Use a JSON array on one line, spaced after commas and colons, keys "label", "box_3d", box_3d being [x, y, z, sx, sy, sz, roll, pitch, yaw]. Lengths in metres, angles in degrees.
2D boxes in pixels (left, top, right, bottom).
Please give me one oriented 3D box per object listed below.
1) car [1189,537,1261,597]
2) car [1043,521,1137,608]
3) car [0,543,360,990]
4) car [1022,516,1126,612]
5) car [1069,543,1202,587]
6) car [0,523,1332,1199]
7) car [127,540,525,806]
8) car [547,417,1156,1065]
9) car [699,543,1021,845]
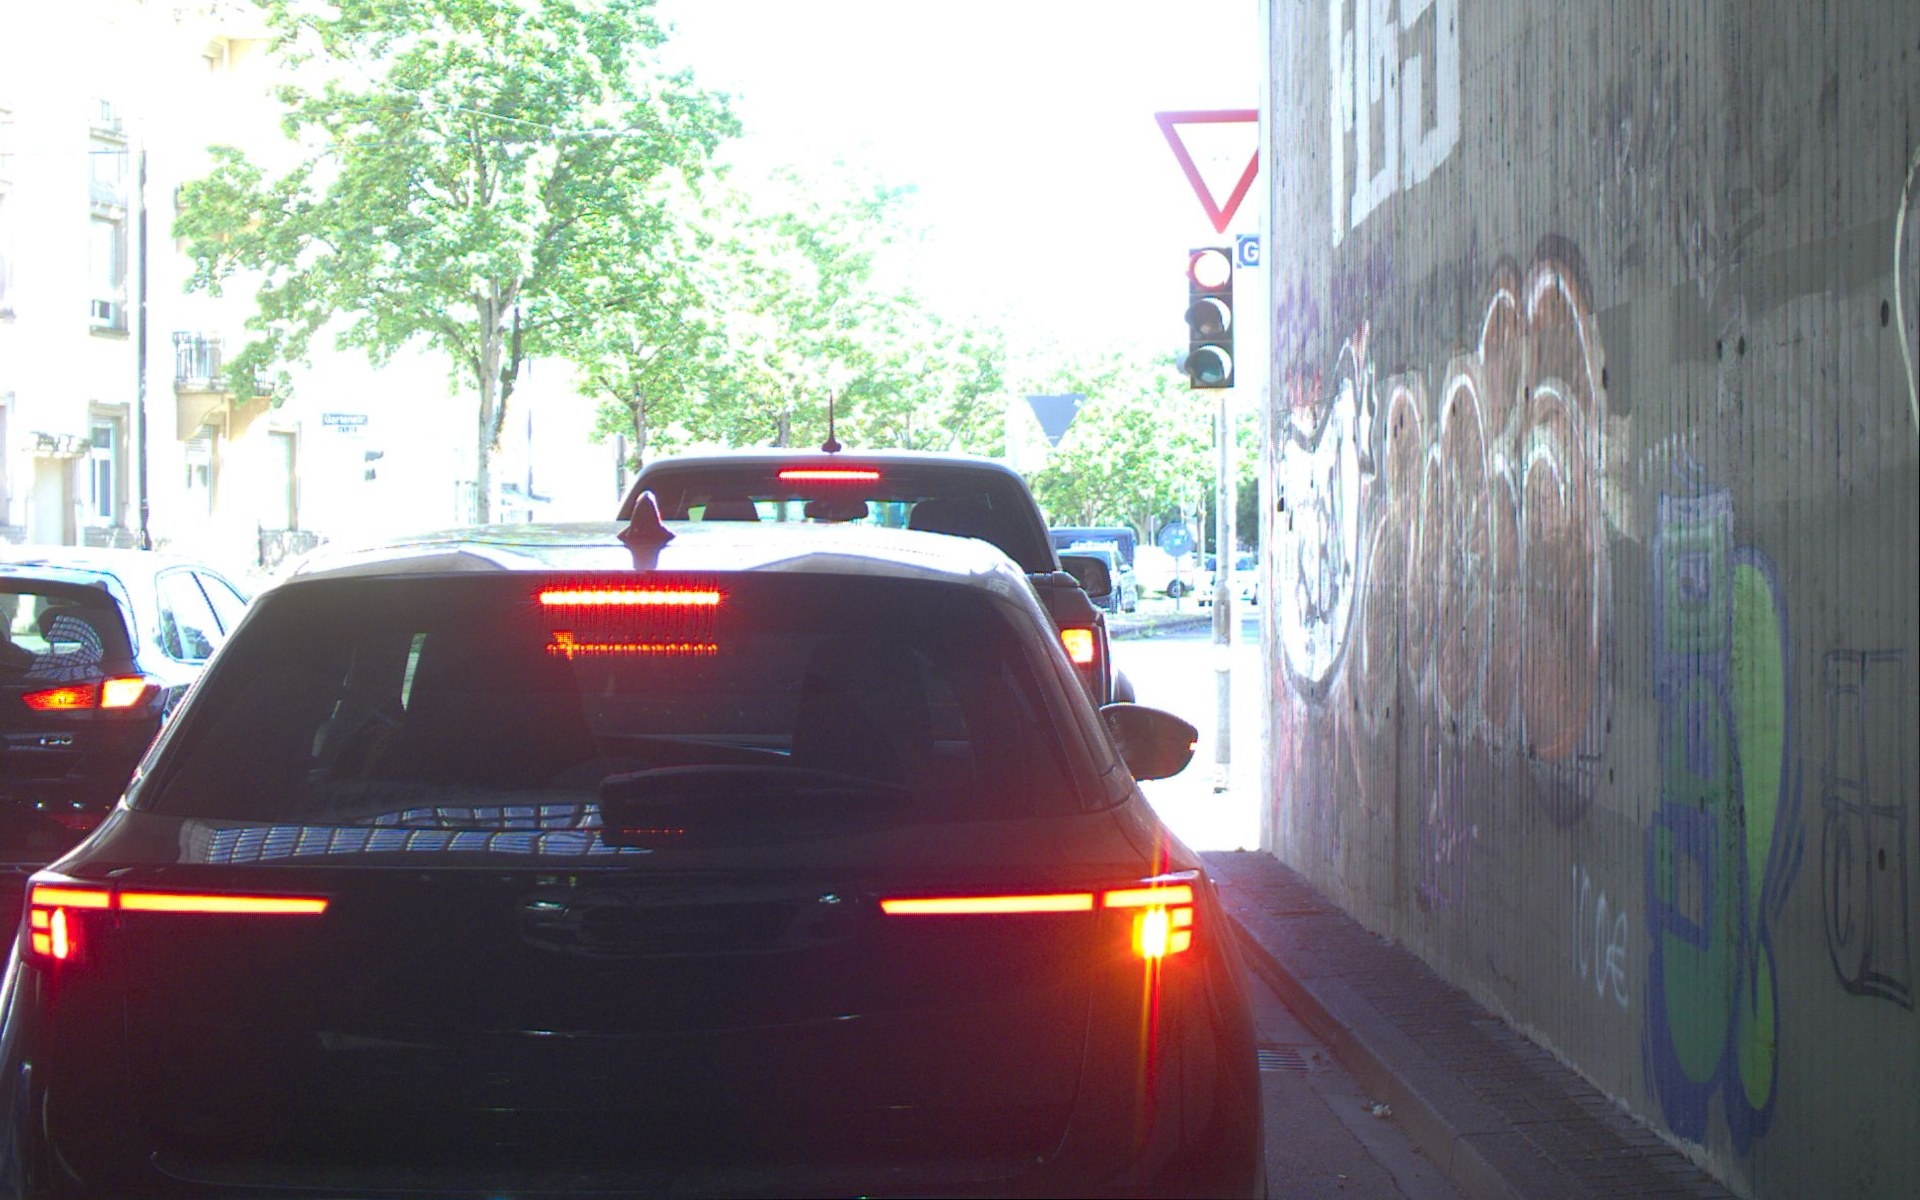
[{"label": "car", "box_3d": [7.623, -0.942, 98.601, 1.754, 1.661, 3.943, 1, 1, 9]}, {"label": "car", "box_3d": [2.607, -0.708, 68.325, 1.754, 1.661, 3.944, 1, 1, 3]}, {"label": "car", "box_3d": [-3.516, 0.520, 13.298, 1.762, 1.475, 3.844, 0, 1, -1]}, {"label": "car", "box_3d": [2.086, -0.653, 62.206, 1.754, 1.661, 3.944, 1, 1, 3]}, {"label": "car", "box_3d": [6.832, -1.354, 133.785, 4.798, 1.661, 1.824, 1, 1, -21]}, {"label": "car", "box_3d": [-0.467, 0.639, 6.110, 1.762, 1.526, 4.089, 0, 1, -1]}, {"label": "car", "box_3d": [-3.766, 0.373, 21.022, 1.762, 1.475, 3.844, 0, 1, -1]}, {"label": "car", "box_3d": [-0.339, 0.377, 12.051, 1.762, 1.876, 4.146, 0, 1, -1]}, {"label": "car", "box_3d": [-0.524, 0.438, 19.271, 1.609, 1.508, 4.054, 0, 1, -1]}]
